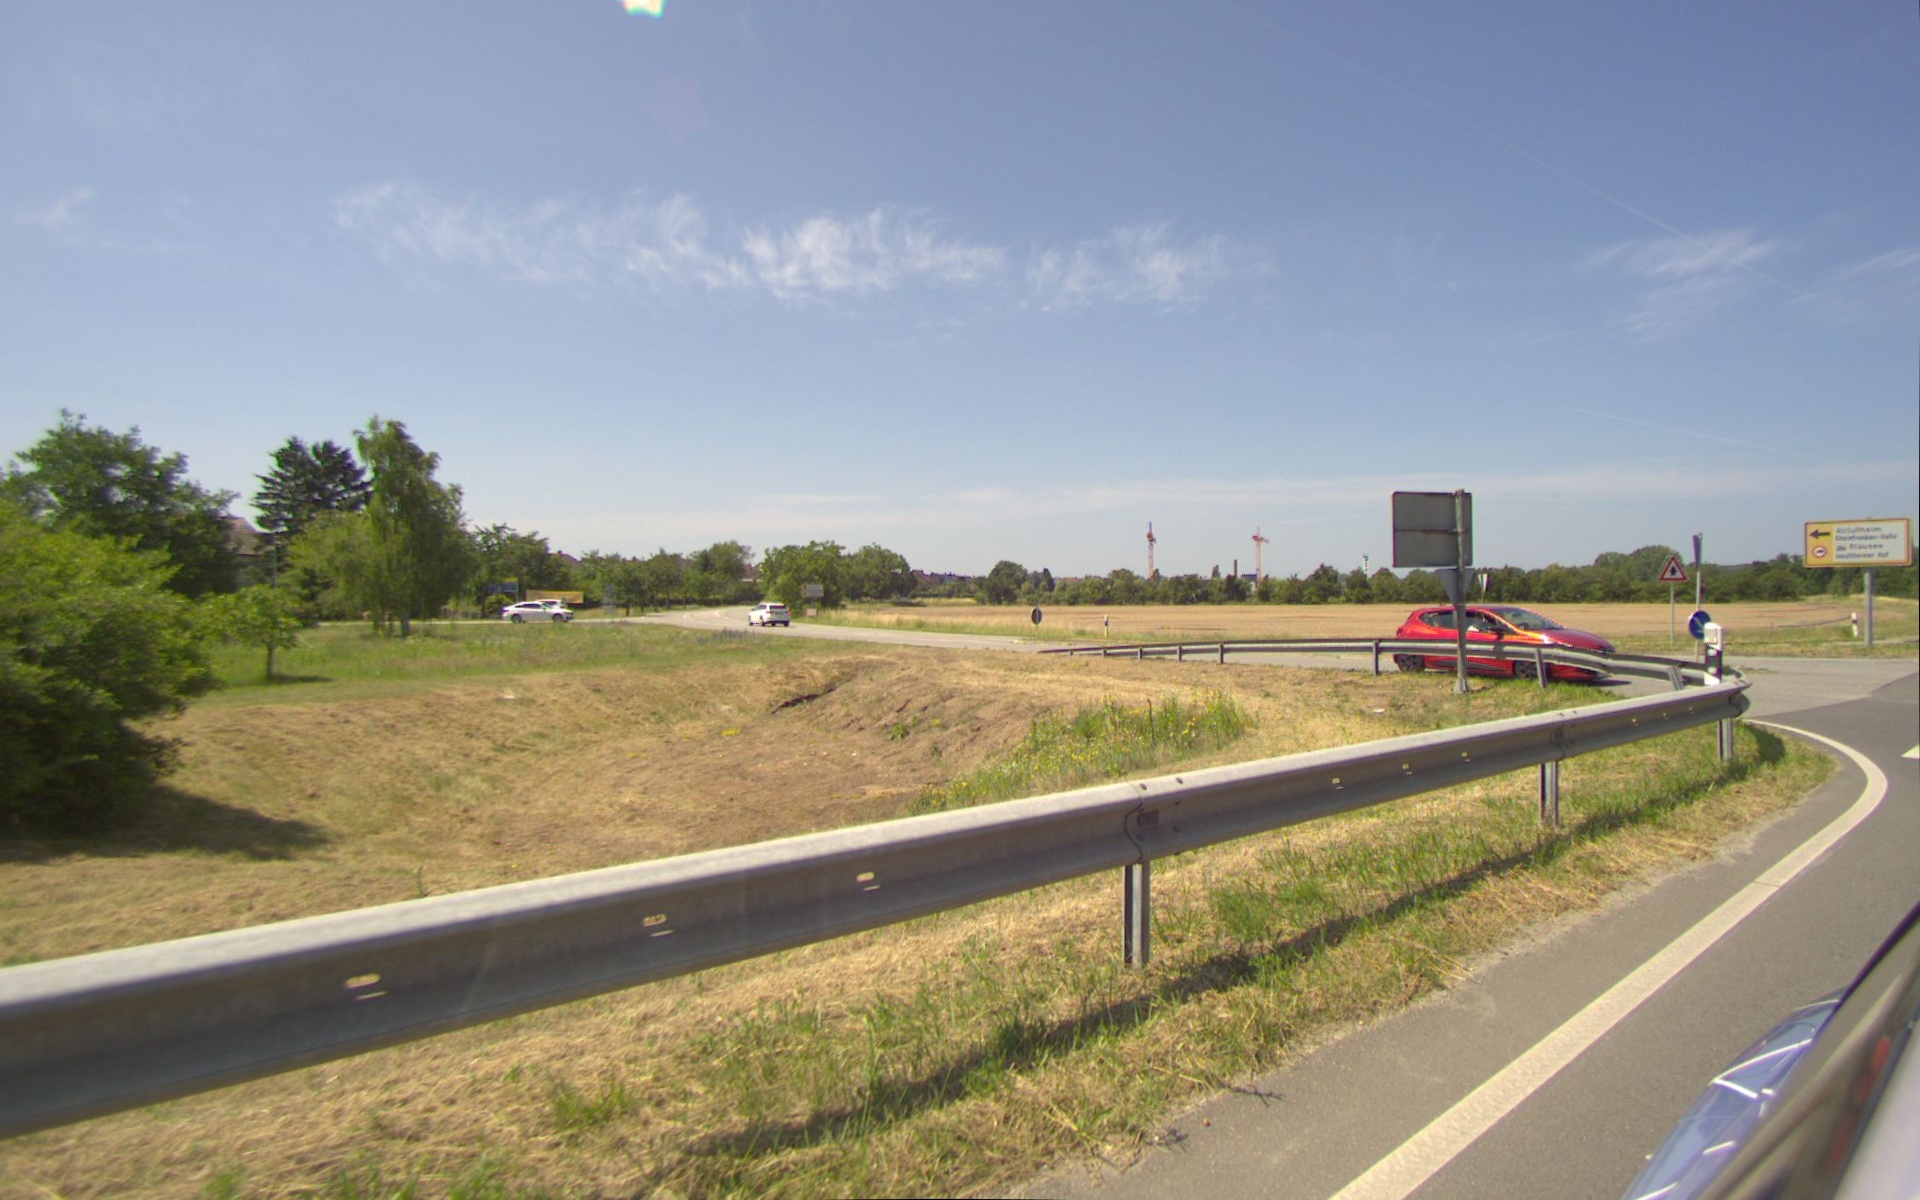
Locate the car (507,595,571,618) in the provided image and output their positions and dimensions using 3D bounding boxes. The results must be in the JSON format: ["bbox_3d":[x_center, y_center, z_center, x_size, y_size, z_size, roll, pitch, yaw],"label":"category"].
[{"bbox_3d":[-31.967,0.479,76.991,4.060,1.644,2.072,-1,0,-3],"label":"car"}]

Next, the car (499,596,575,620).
[{"bbox_3d":[-29.894,0.568,71.605,4.670,1.644,1.646,-1,0,-7],"label":"car"}]

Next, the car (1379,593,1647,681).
[{"bbox_3d":[10.296,0.633,19.198,1.743,1.436,4.172,-1,0,-27],"label":"car"}]

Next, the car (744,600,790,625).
[{"bbox_3d":[-12.276,0.825,64.109,1.803,1.437,4.722,-1,-1,-25],"label":"car"}]
